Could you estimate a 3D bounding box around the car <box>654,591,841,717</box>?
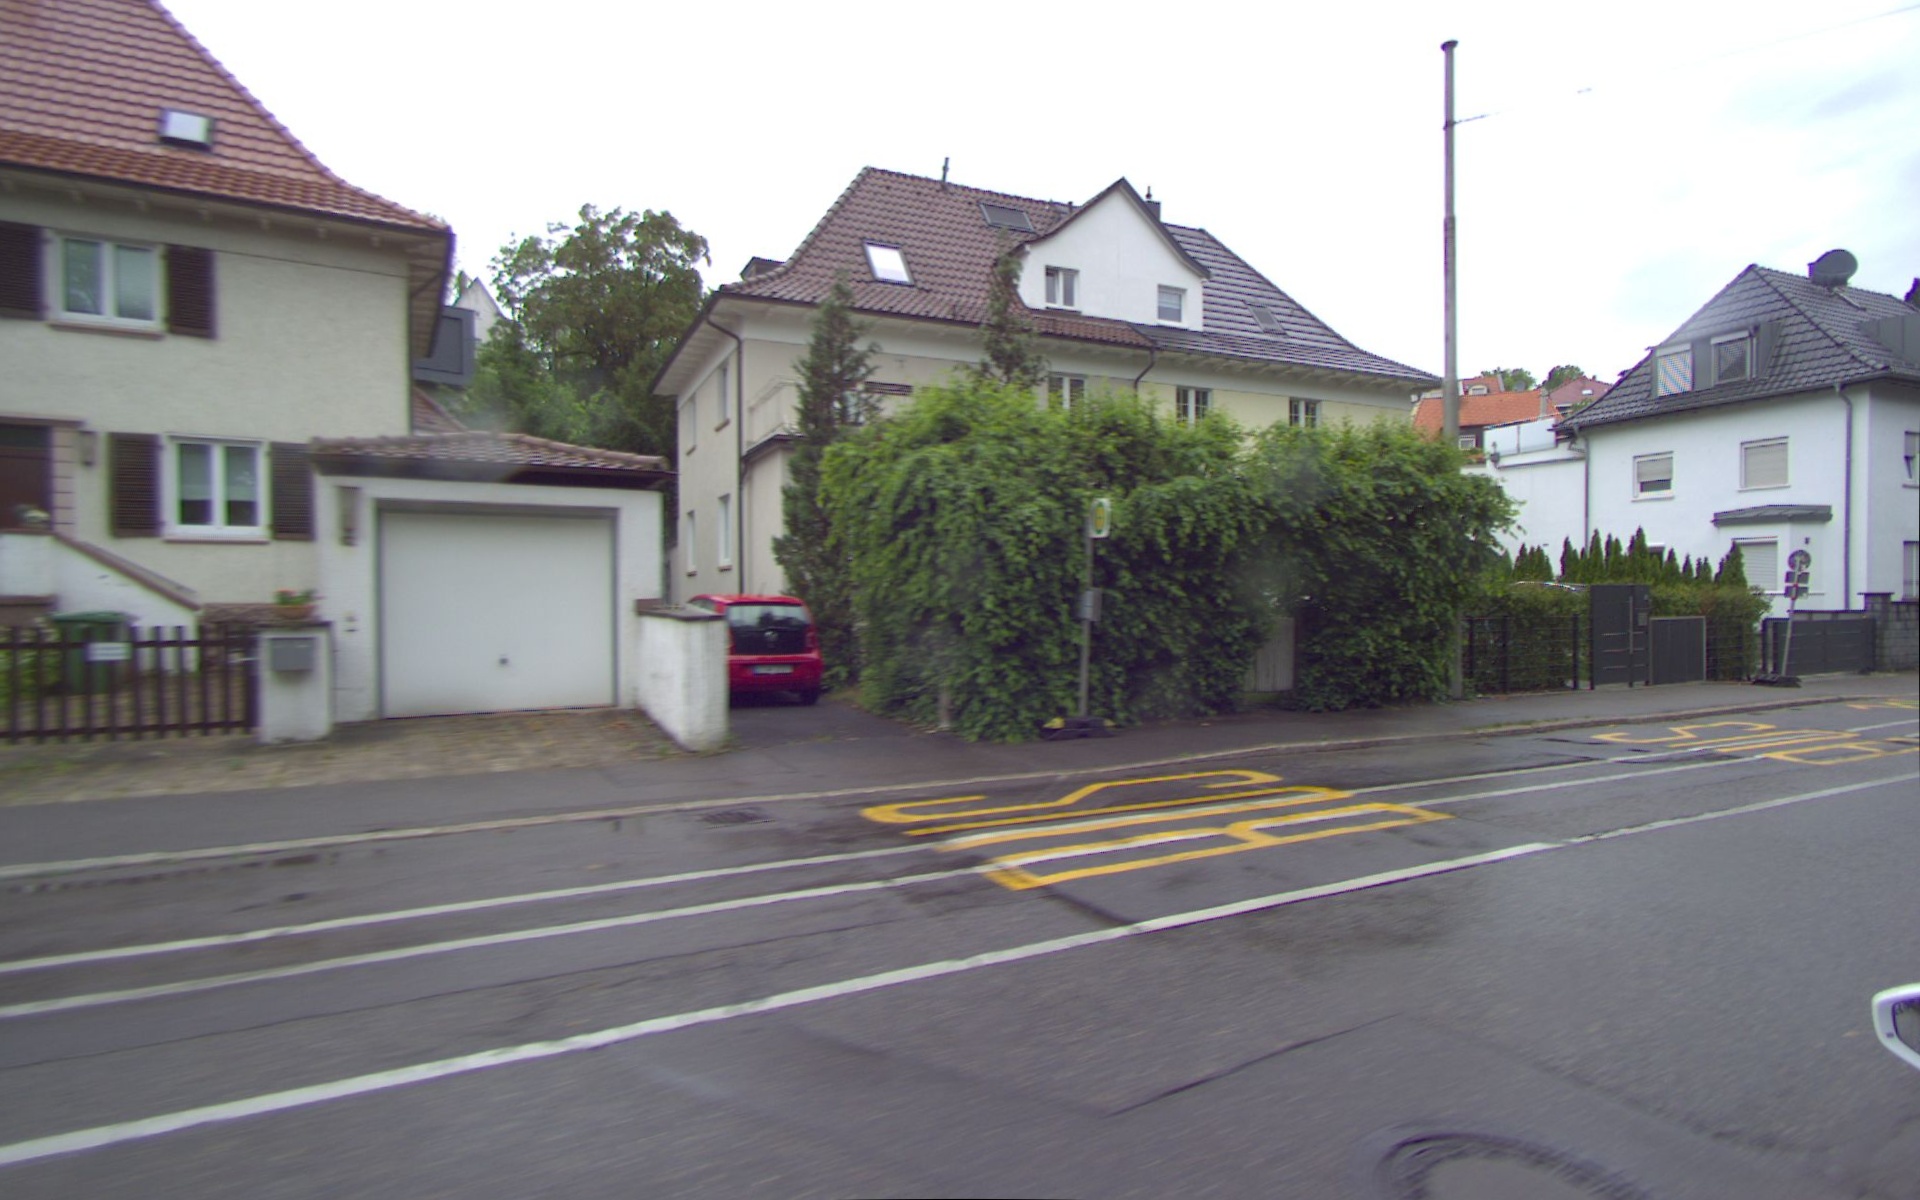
[{"bbox_3d":[-3.204,0.696,14.629,1.615,1.442,3.626,2,2,-30],"label":"car"}]
